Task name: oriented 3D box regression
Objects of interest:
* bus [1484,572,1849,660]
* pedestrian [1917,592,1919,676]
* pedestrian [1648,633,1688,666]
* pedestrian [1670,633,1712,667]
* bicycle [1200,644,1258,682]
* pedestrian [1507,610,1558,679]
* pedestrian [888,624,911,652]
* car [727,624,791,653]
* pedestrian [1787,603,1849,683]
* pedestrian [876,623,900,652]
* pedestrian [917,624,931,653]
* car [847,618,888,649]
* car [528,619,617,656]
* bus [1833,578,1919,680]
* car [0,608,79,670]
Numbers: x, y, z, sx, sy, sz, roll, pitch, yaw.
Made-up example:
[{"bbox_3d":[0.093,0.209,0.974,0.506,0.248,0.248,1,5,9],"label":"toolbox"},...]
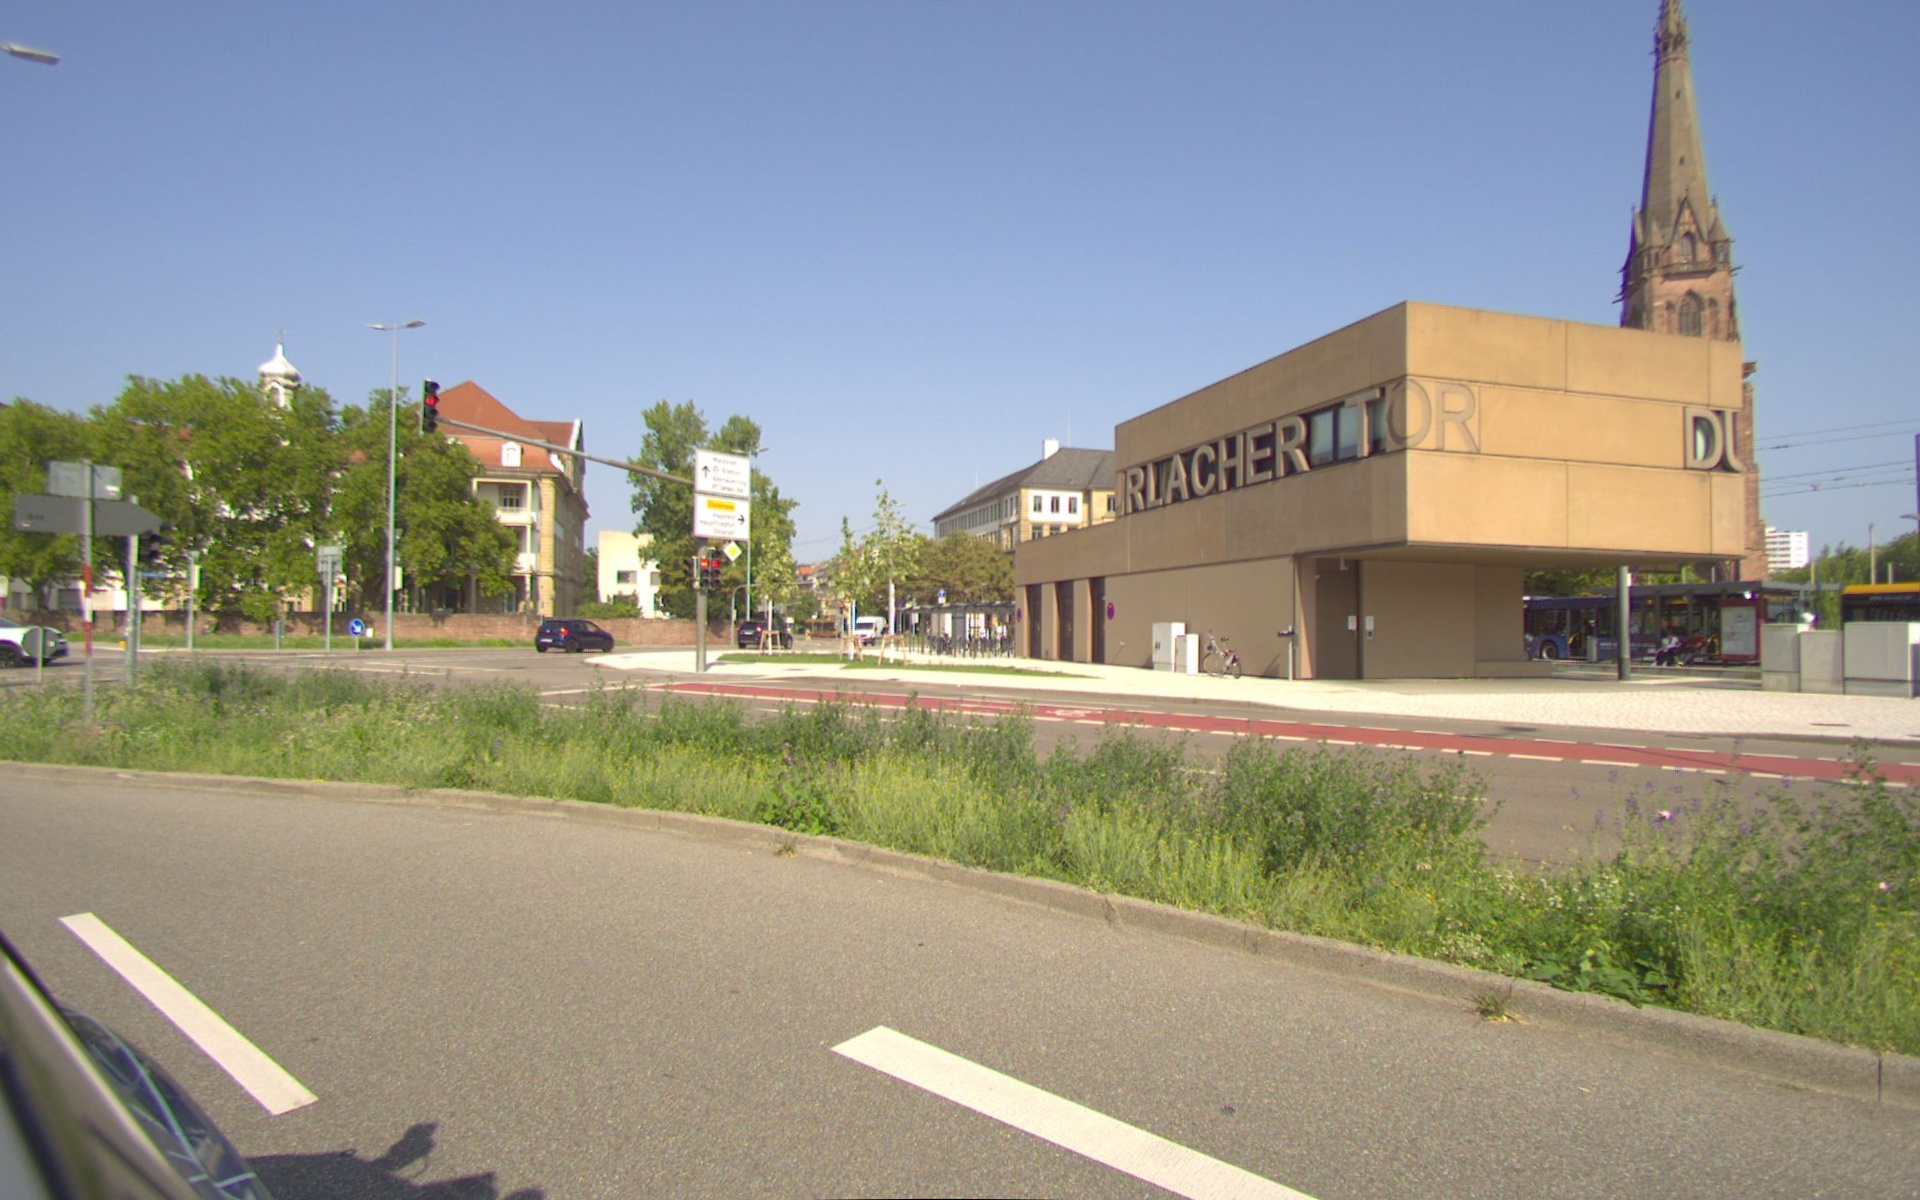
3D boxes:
[{"bbox_3d":[27.585,0.750,41.003,3.243,3.000,12.834,1,-2,-17],"label":"bus"},{"bbox_3d":[19.898,0.692,20.266,0.863,1.718,0.979,-1,-2,32],"label":"pedestrian"},{"bbox_3d":[24.866,1.718,35.551,1.013,1.142,0.740,1,-2,-25],"label":"pedestrian"},{"bbox_3d":[25.076,1.716,34.705,1.013,1.142,0.740,1,-2,-25],"label":"pedestrian"},{"bbox_3d":[6.420,1.491,24.238,0.583,0.844,1.552,-2,-1,-16],"label":"bicycle"},{"bbox_3d":[14.681,1.136,25.968,0.851,1.718,0.734,1,-2,-20],"label":"pedestrian"},{"bbox_3d":[-4.427,2.751,74.013,1.204,2.029,1.333,-1,-2,22],"label":"pedestrian"},{"bbox_3d":[-11.925,2.302,60.341,1.983,1.646,4.348,0,-2,17],"label":"car"},{"bbox_3d":[18.590,0.926,21.962,0.863,1.685,0.979,-1,-2,32],"label":"pedestrian"},{"bbox_3d":[-5.138,2.665,72.247,1.204,2.029,1.333,-1,-2,22],"label":"pedestrian"},{"bbox_3d":[-2.555,2.694,71.467,0.851,2.029,1.005,0,-2,5],"label":"pedestrian"},{"bbox_3d":[-8.190,2.967,90.314,1.980,2.470,5.529,-1,0,13],"label":"car"},{"bbox_3d":[-16.505,1.600,43.318,1.611,1.509,3.830,0,-2,15],"label":"car"},{"bbox_3d":[31.835,0.810,27.861,2.670,3.132,12.250,1,-2,-17],"label":"bus"},{"bbox_3d":[-27.717,1.153,28.248,4.298,1.646,2.005,-2,-2,-15],"label":"car"}]
